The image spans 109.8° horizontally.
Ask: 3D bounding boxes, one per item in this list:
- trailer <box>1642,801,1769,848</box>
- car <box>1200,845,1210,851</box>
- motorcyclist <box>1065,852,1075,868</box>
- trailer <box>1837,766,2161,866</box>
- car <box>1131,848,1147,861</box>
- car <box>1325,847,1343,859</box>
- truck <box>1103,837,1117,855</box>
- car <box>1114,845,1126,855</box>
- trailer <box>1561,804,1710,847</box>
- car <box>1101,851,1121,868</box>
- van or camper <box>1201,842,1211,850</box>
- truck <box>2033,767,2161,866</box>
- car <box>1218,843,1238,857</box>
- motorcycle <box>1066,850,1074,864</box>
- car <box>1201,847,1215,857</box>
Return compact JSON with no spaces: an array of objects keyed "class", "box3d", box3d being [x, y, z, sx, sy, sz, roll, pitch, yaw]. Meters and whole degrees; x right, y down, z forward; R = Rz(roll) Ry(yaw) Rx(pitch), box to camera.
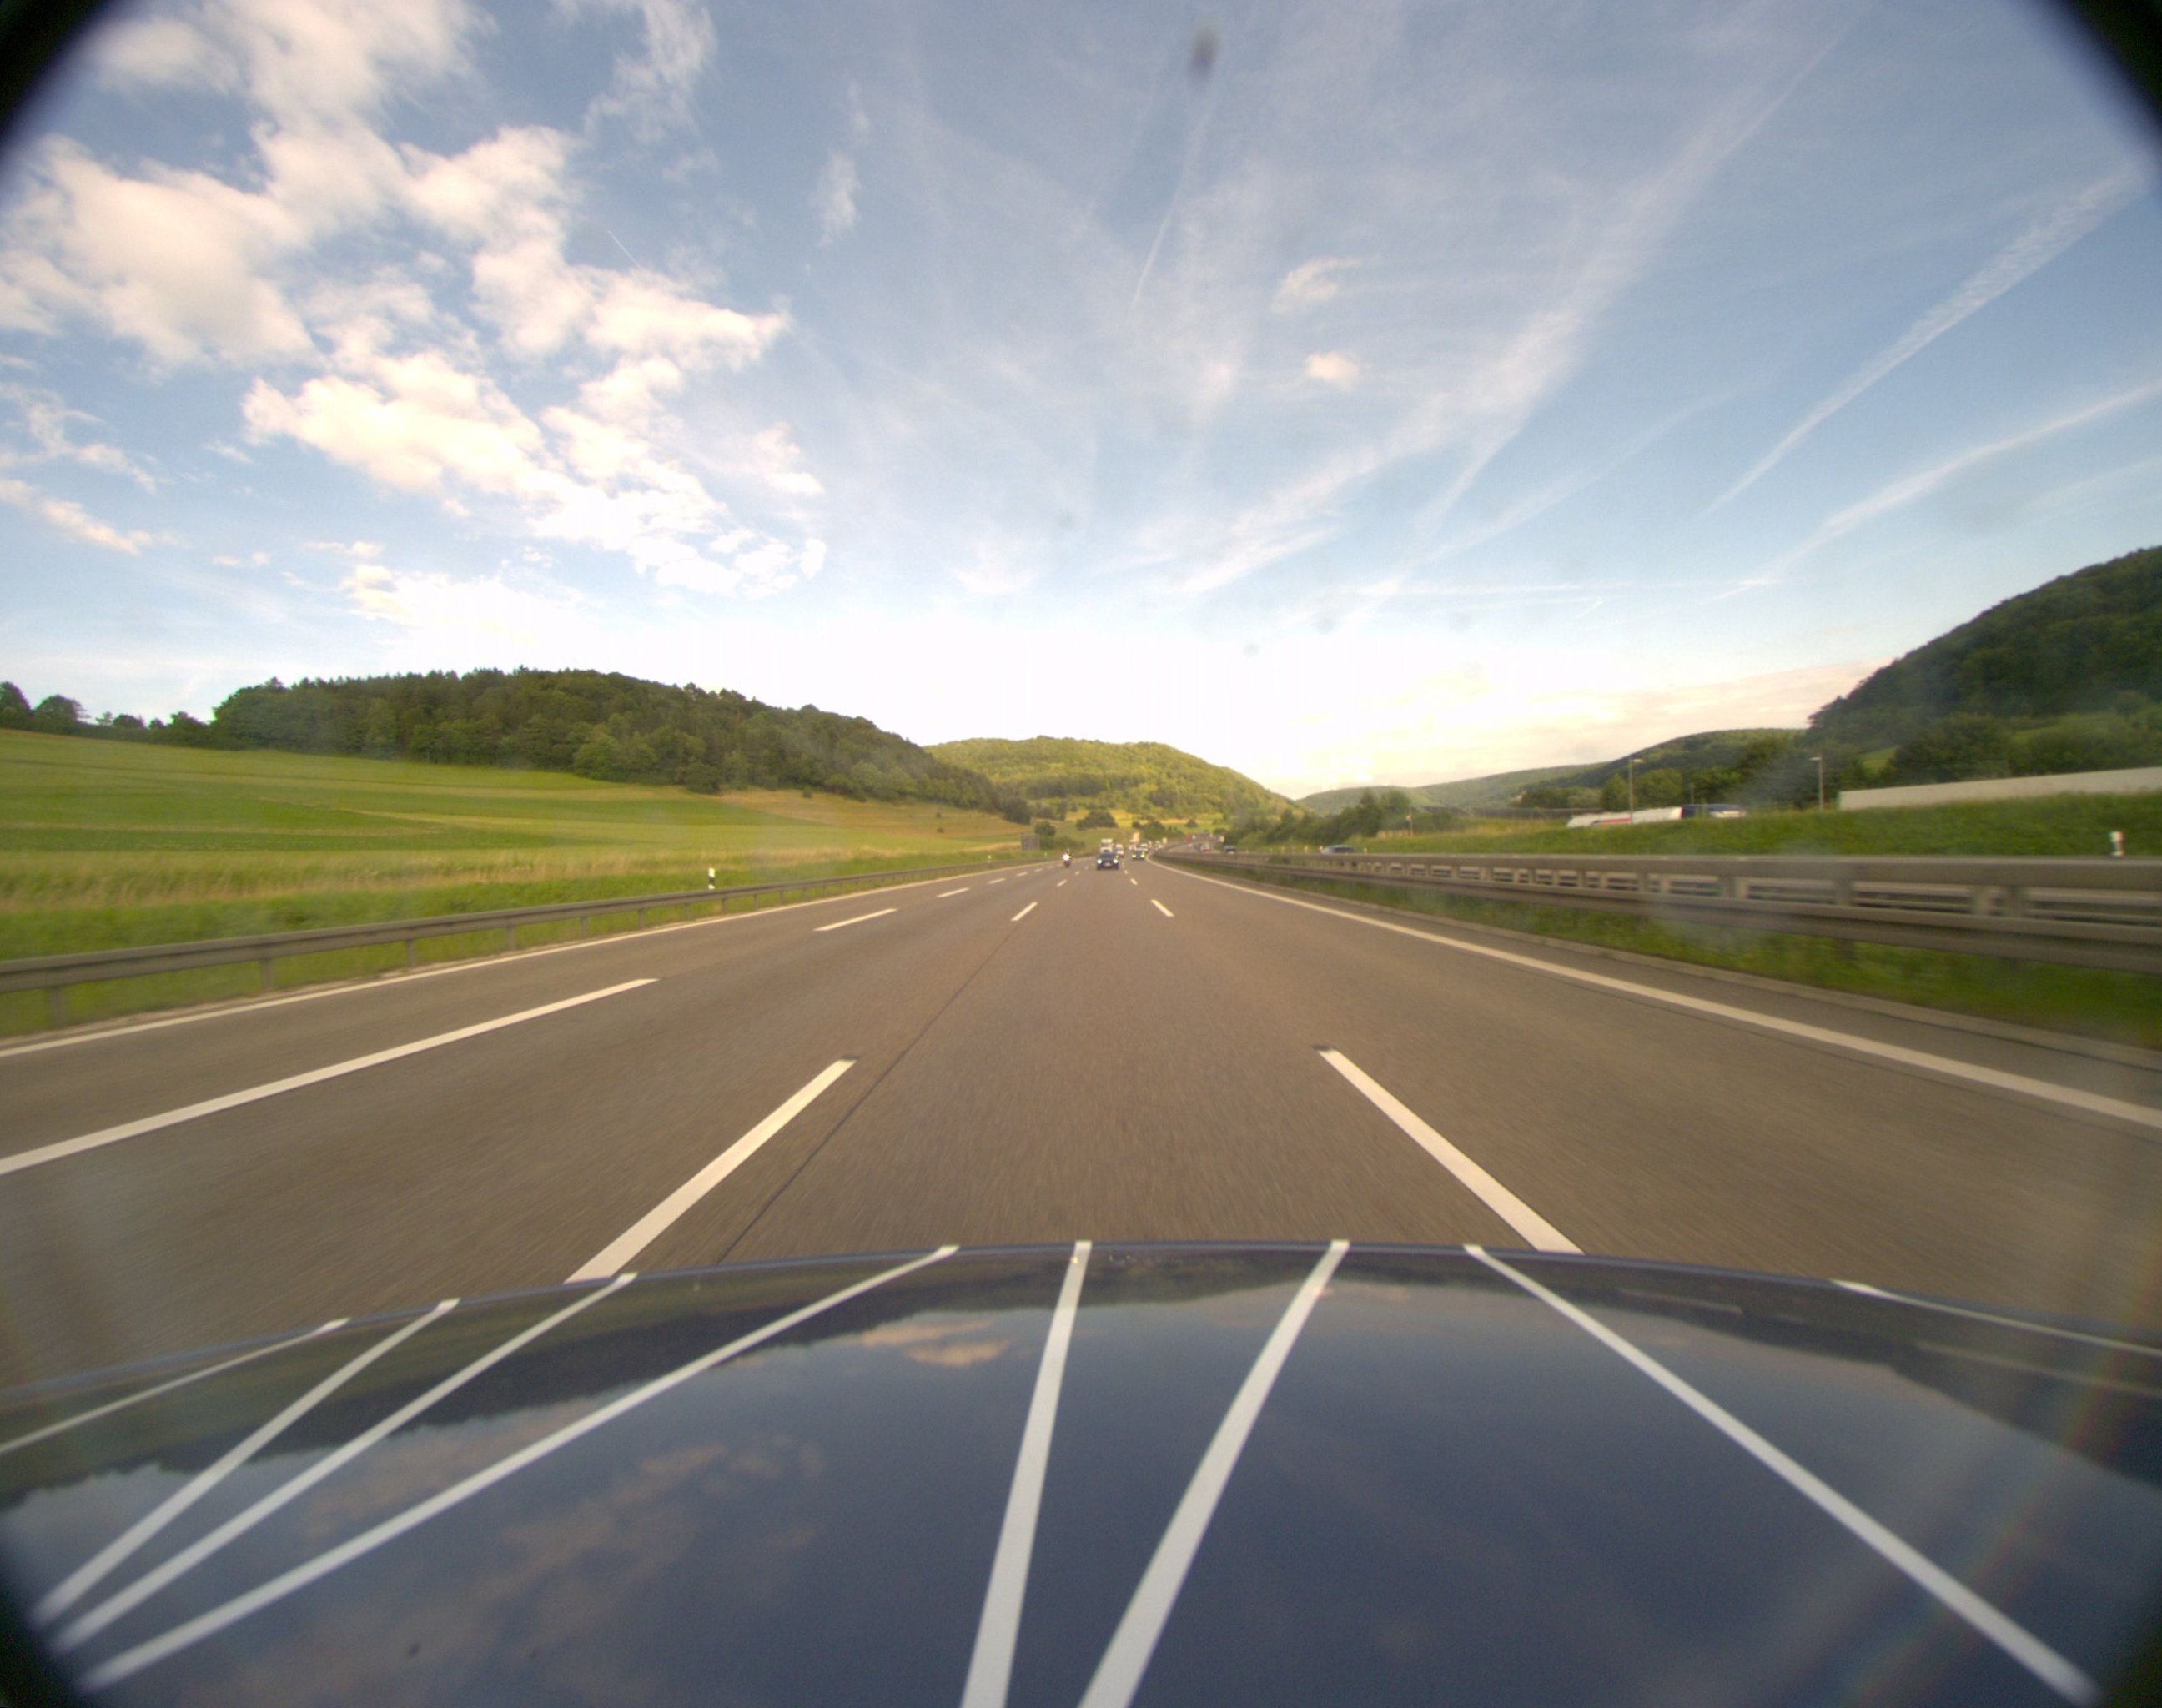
[{"class":"trailer","box3d":[41.431,-1.924,50.804,2.618,2.837,7.303,-2,2,1]},{"class":"car","box3d":[34.334,-1.664,210.859,1.998,1.488,4.692,0,1,1]},{"class":"motorcyclist","box3d":[-1.077,0.588,75.122,0.878,1.506,0.797,-1,2,7]},{"class":"trailer","box3d":[41.330,-1.459,33.212,2.884,3.675,13.674,-1,0,0]},{"class":"car","box3d":[9.146,0.047,119.653,1.997,1.871,4.002,0,1,10]},{"class":"car","box3d":[33.744,-0.189,101.261,1.995,1.542,4.626,0,1,23]},{"class":"truck","box3d":[6.986,-2.057,181.494,2.971,3.970,17.731,-1,2,3]},{"class":"car","box3d":[7.774,-0.844,150.514,1.997,1.871,4.002,0,1,8]},{"class":"trailer","box3d":[41.616,-2.142,57.853,2.585,2.837,12.260,-2,2,1]},{"class":"car","box3d":[2.530,0.463,63.485,1.580,1.310,4.001,-1,-1,2]},{"class":"van or camper","box3d":[29.915,-1.992,181.948,1.920,1.863,4.755,-1,1,3]},{"class":"truck","box3d":[41.337,-1.397,27.595,2.888,3.669,8.492,0,1,0]},{"class":"car","box3d":[18.579,-0.517,96.344,1.811,1.605,4.340,-2,2,2]},{"class":"motorcycle","box3d":[-1.115,0.269,75.562,0.628,1.331,1.739,-1,2,4]},{"class":"car","box3d":[21.488,-0.331,128.630,1.845,1.521,4.216,1,0,5]}]
